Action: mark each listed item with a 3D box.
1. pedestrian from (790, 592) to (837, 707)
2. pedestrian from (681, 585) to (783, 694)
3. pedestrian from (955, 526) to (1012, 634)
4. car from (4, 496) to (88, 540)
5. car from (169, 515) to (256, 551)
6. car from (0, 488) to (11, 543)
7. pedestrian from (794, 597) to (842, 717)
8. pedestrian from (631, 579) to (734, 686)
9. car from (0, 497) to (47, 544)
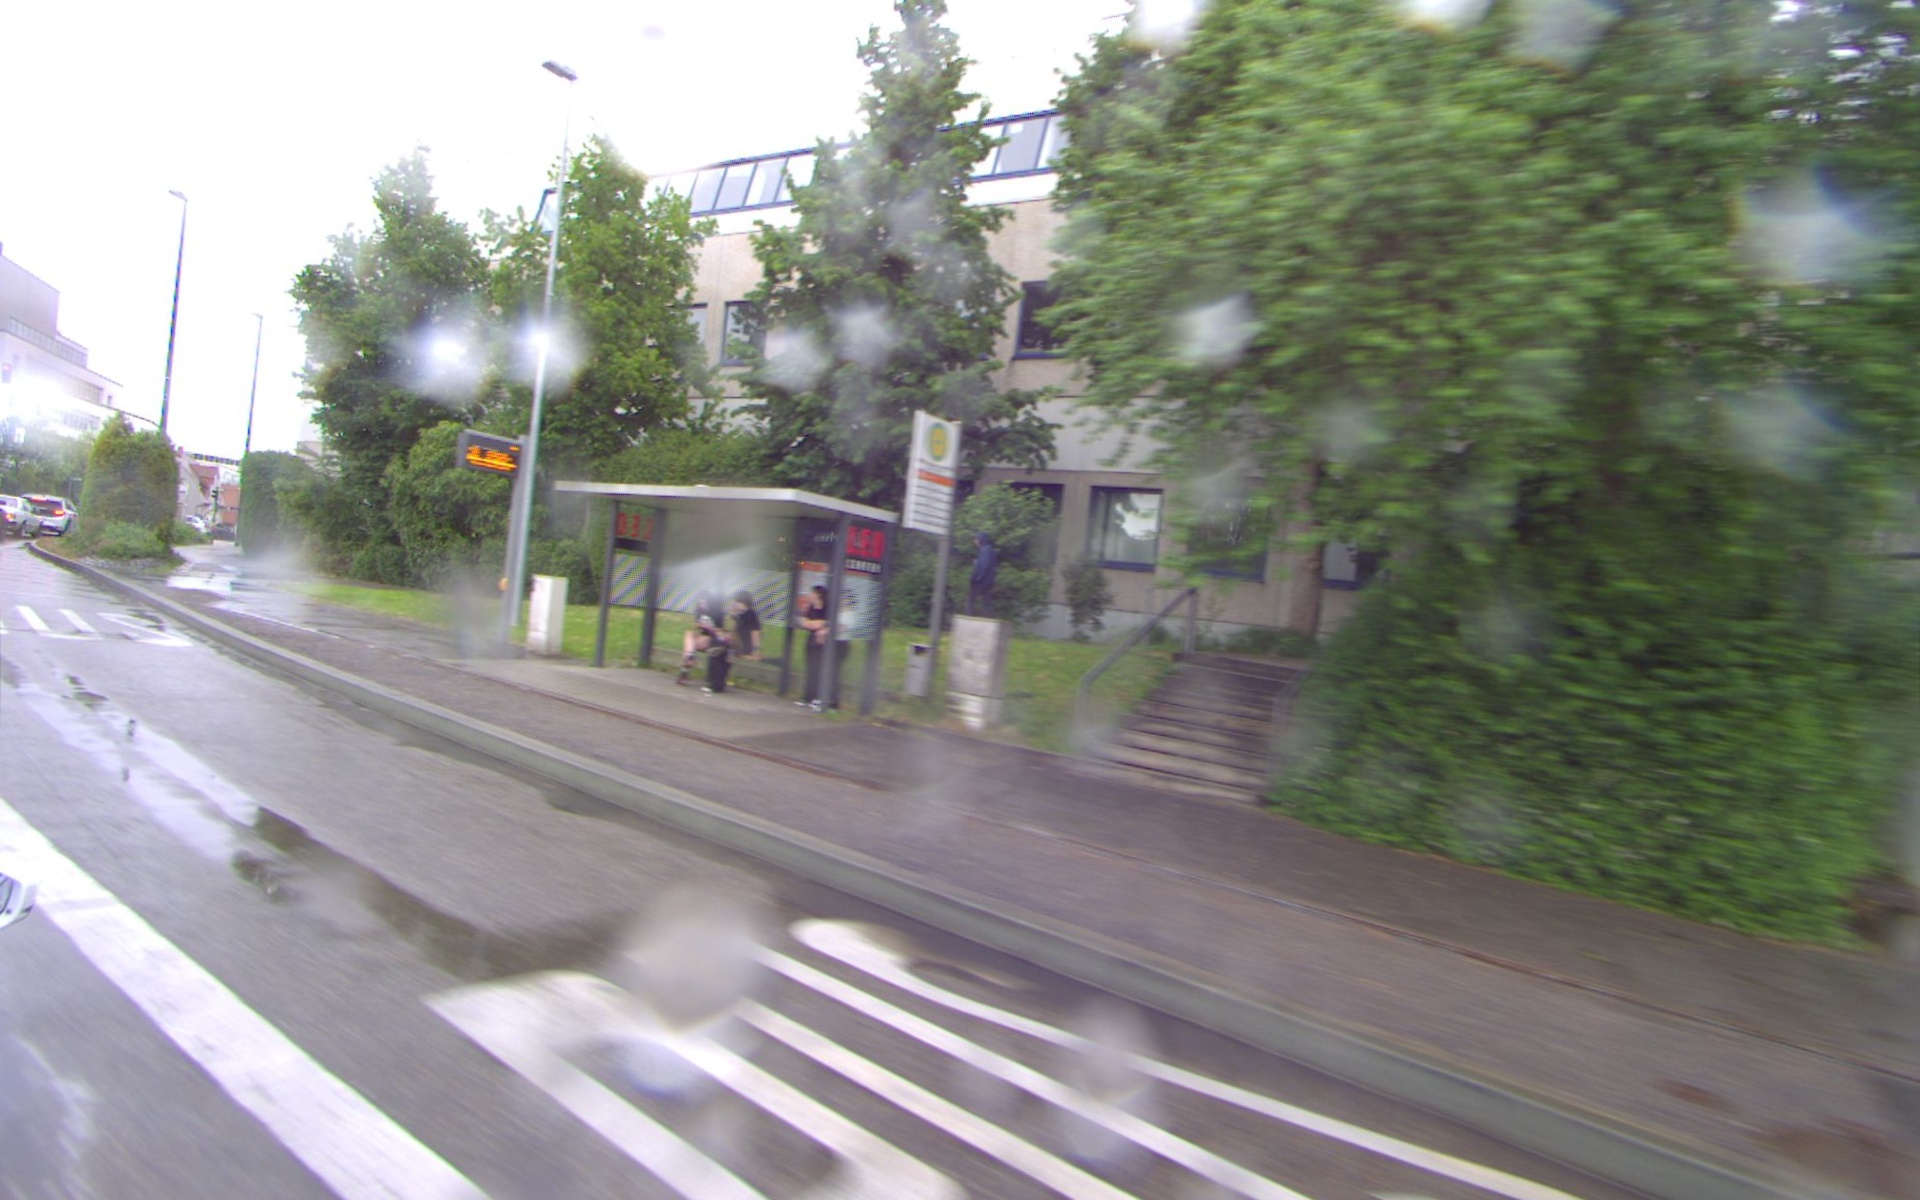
[{"bbox_3d":[-1.857,0.611,12.708,0.405,1.383,0.541,5,2,-15],"label":"pedestrian"},{"bbox_3d":[-2.968,0.514,13.137,0.680,1.298,1.030,7,2,32],"label":"pedestrian"},{"bbox_3d":[0.409,-0.338,17.557,0.662,1.818,0.673,2,-2,29],"label":"pedestrian"},{"bbox_3d":[-36.470,-3.236,40.239,1.899,1.417,3.427,7,-1,-34],"label":"car"},{"bbox_3d":[-50.260,-4.485,67.764,1.855,1.702,4.510,7,-1,11],"label":"car"},{"bbox_3d":[-29.272,-2.606,29.124,1.891,1.640,4.293,8,-1,-36],"label":"car"},{"bbox_3d":[-1.730,0.681,12.190,0.405,1.383,0.541,5,2,-14],"label":"pedestrian"},{"bbox_3d":[-3.676,0.429,13.376,0.680,1.298,1.030,7,2,32],"label":"pedestrian"},{"bbox_3d":[-33.145,-2.820,34.841,1.625,1.465,4.228,8,-2,-36],"label":"car"}]
